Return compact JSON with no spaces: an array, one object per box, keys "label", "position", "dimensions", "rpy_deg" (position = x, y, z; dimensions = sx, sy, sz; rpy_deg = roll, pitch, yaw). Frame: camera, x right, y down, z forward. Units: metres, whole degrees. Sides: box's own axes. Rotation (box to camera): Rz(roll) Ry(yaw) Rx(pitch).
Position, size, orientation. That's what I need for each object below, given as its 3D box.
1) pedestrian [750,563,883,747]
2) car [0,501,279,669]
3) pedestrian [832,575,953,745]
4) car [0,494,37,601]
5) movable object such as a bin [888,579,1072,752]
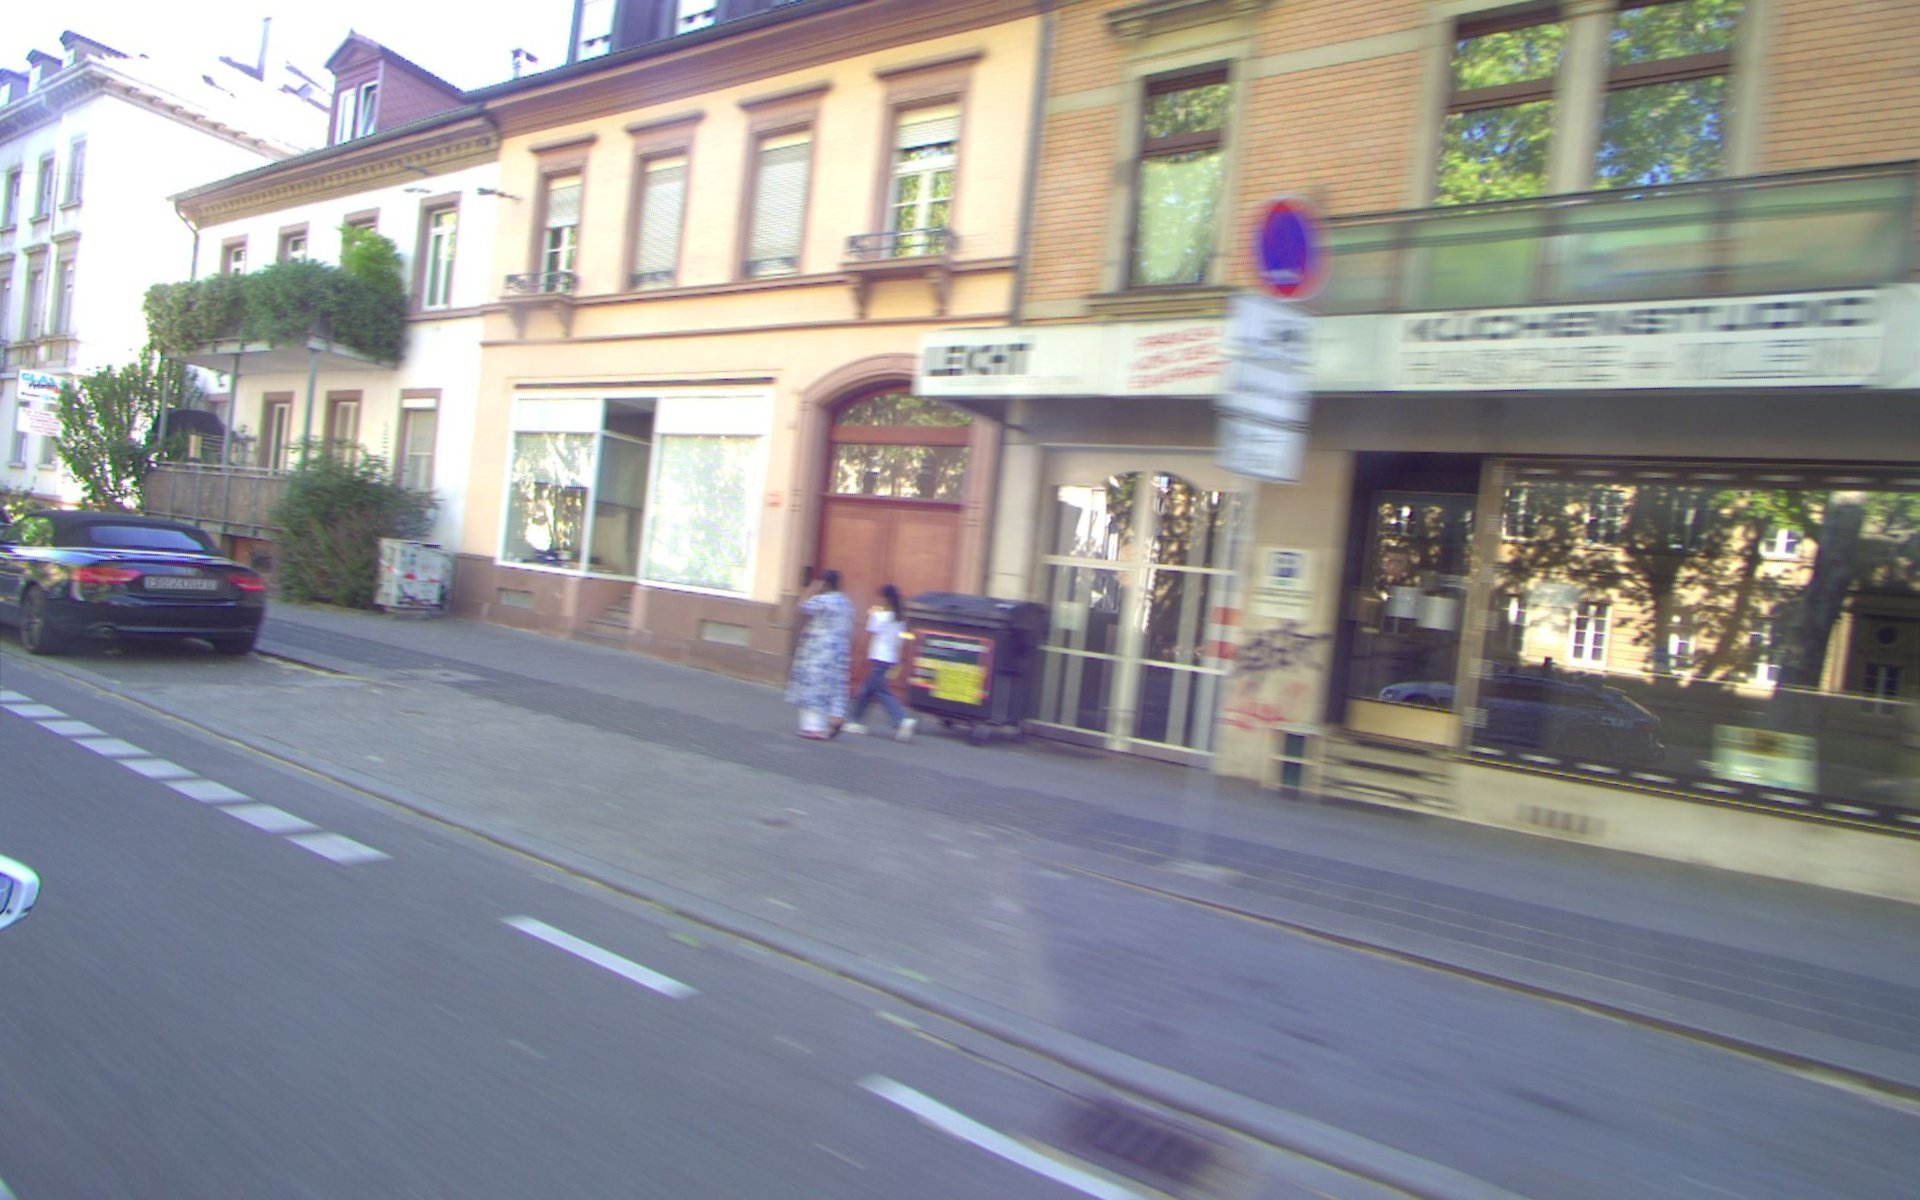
[{"label":"pedestrian","position":[-1.299,0.477,9.140],"dimensions":[0.852,1.525,0.660],"rpy_deg":[7,2,32]},{"label":"car","position":[-9.363,-0.251,10.916],"dimensions":[4.422,1.411,1.693],"rpy_deg":[6,2,34]},{"label":"pedestrian","position":[-0.645,0.566,9.655],"dimensions":[0.772,1.501,0.658],"rpy_deg":[7,1,31]},{"label":"car","position":[-15.344,-0.932,14.806],"dimensions":[3.805,1.475,1.651],"rpy_deg":[6,2,33]},{"label":"movable object such as a bin","position":[0.226,0.657,10.384],"dimensions":[1.265,1.539,1.294],"rpy_deg":[7,0,32]}]
